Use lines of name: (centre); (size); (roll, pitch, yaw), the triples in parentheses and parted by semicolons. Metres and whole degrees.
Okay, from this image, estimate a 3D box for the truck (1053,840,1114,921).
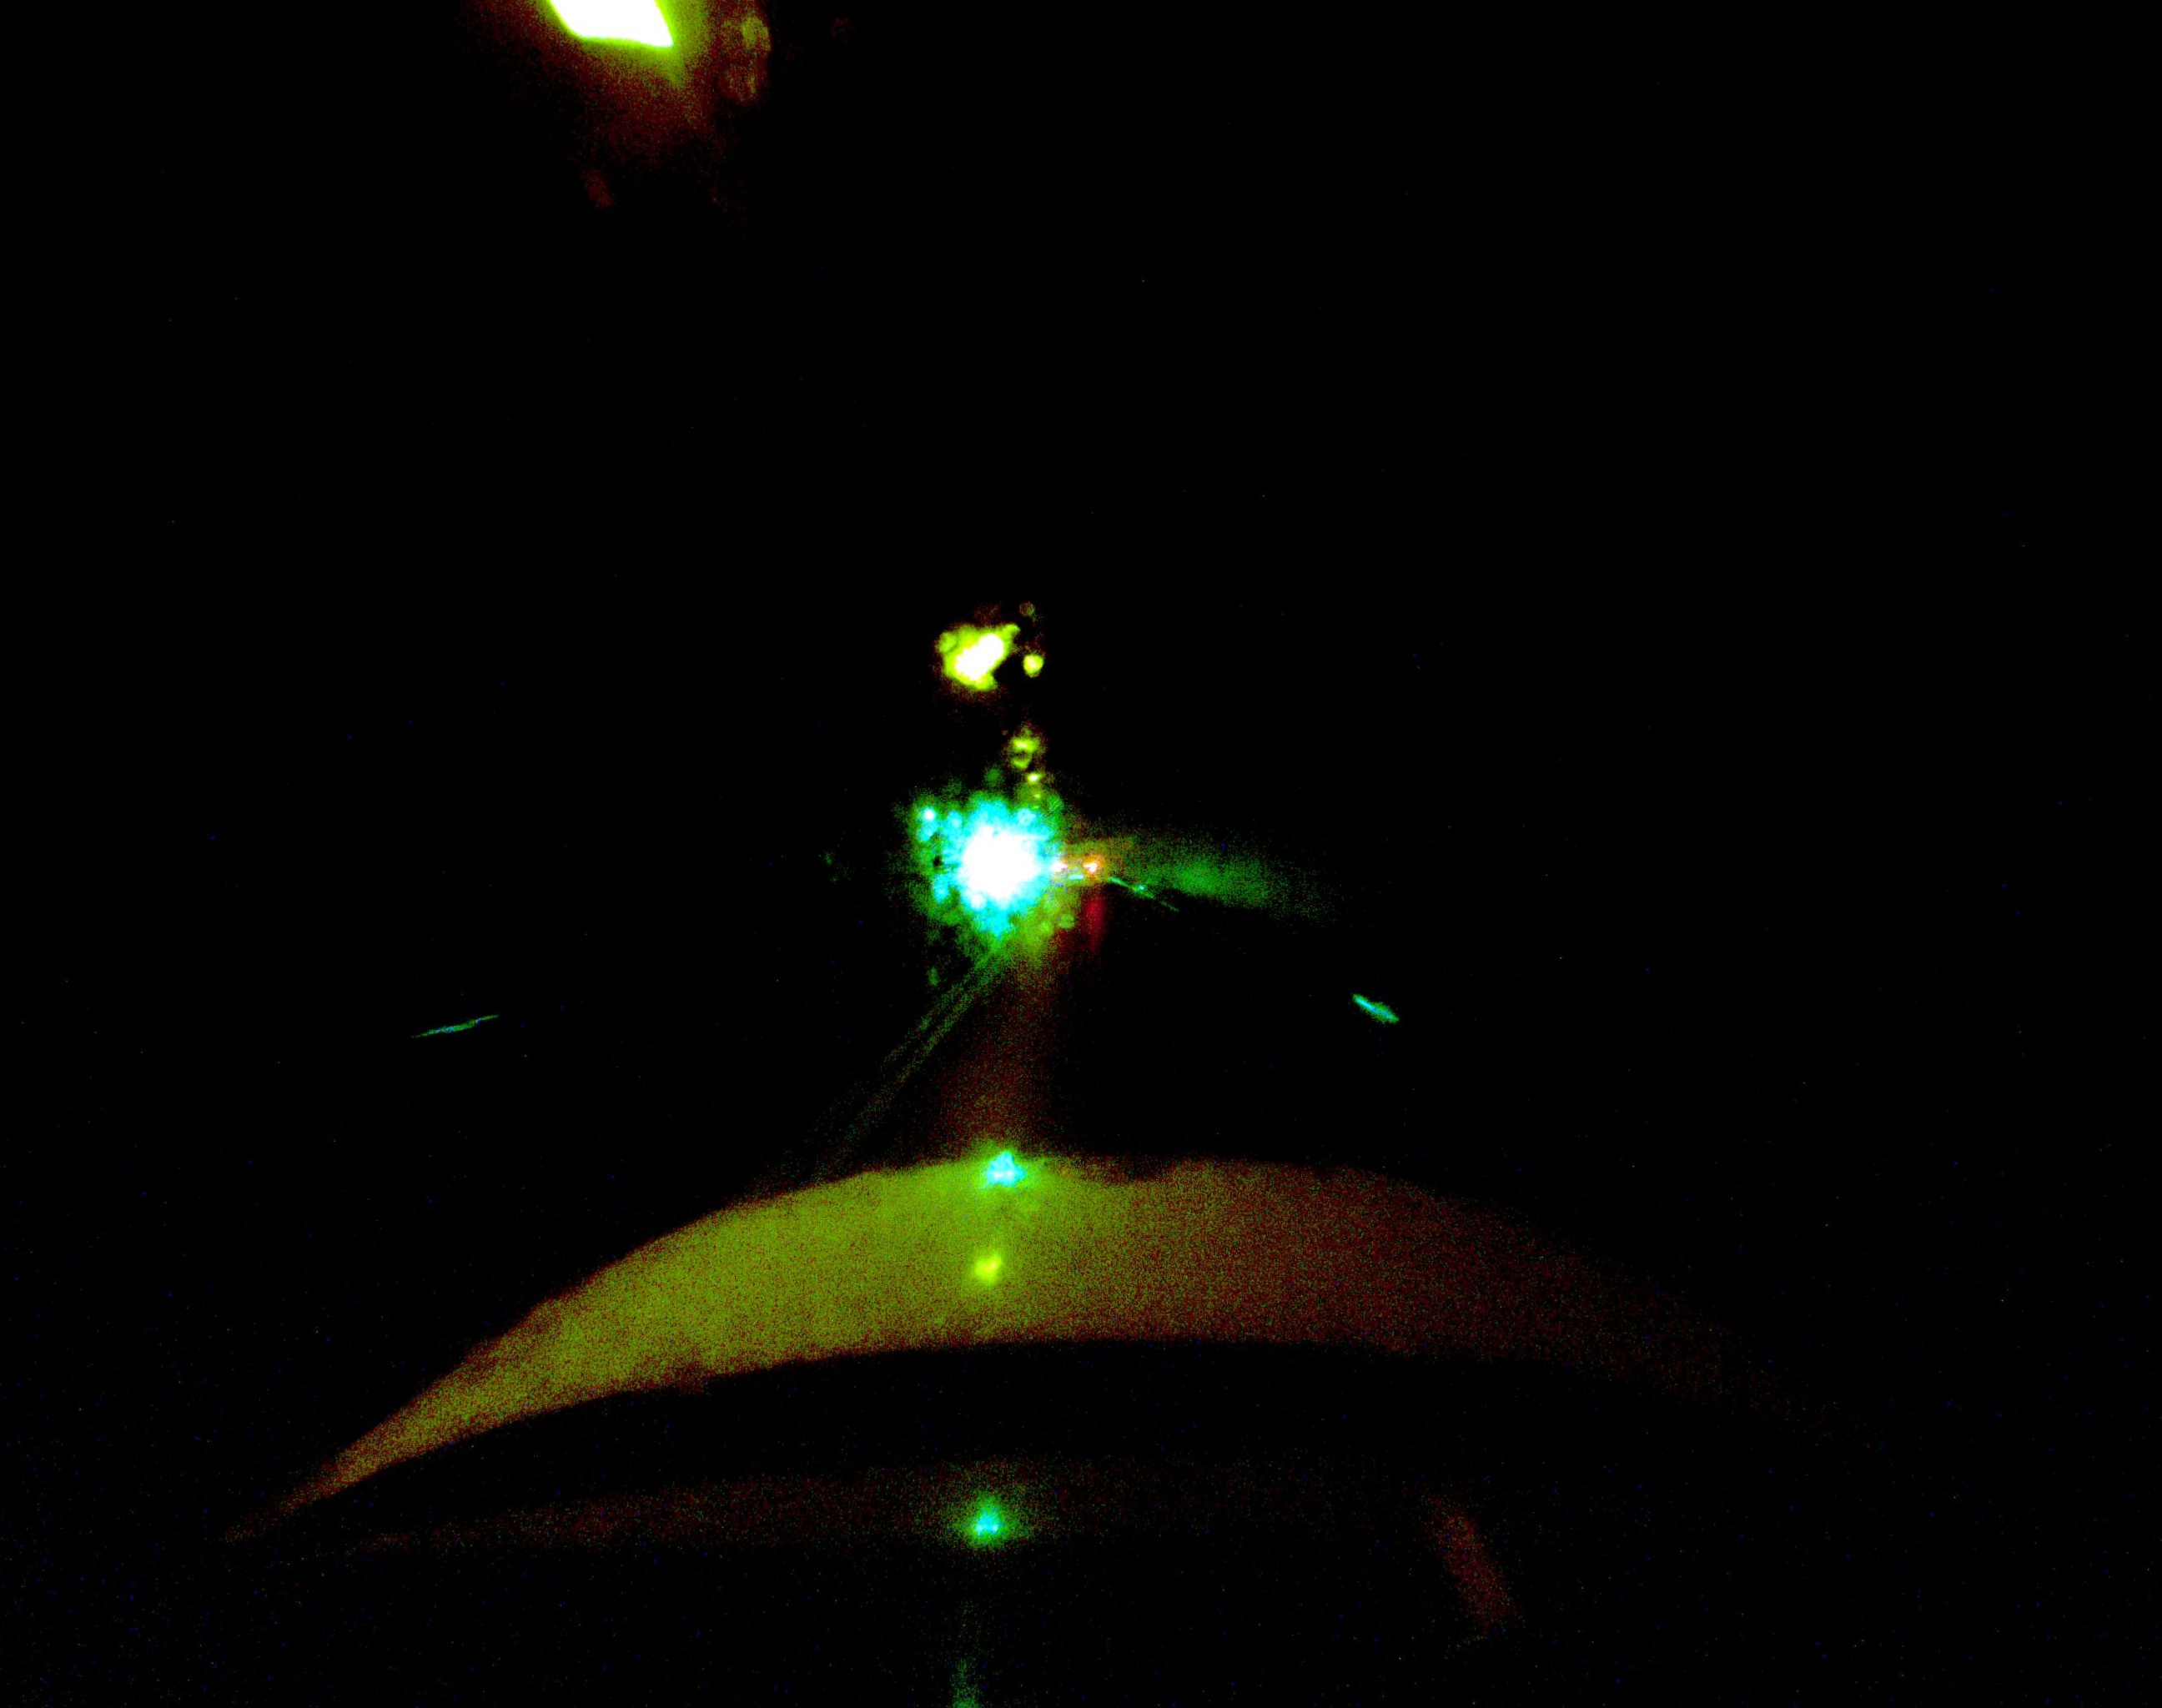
truck: (0.135, 0.998, 34.302); (2.254, 3.011, 7.415); (1, 0, 1)
